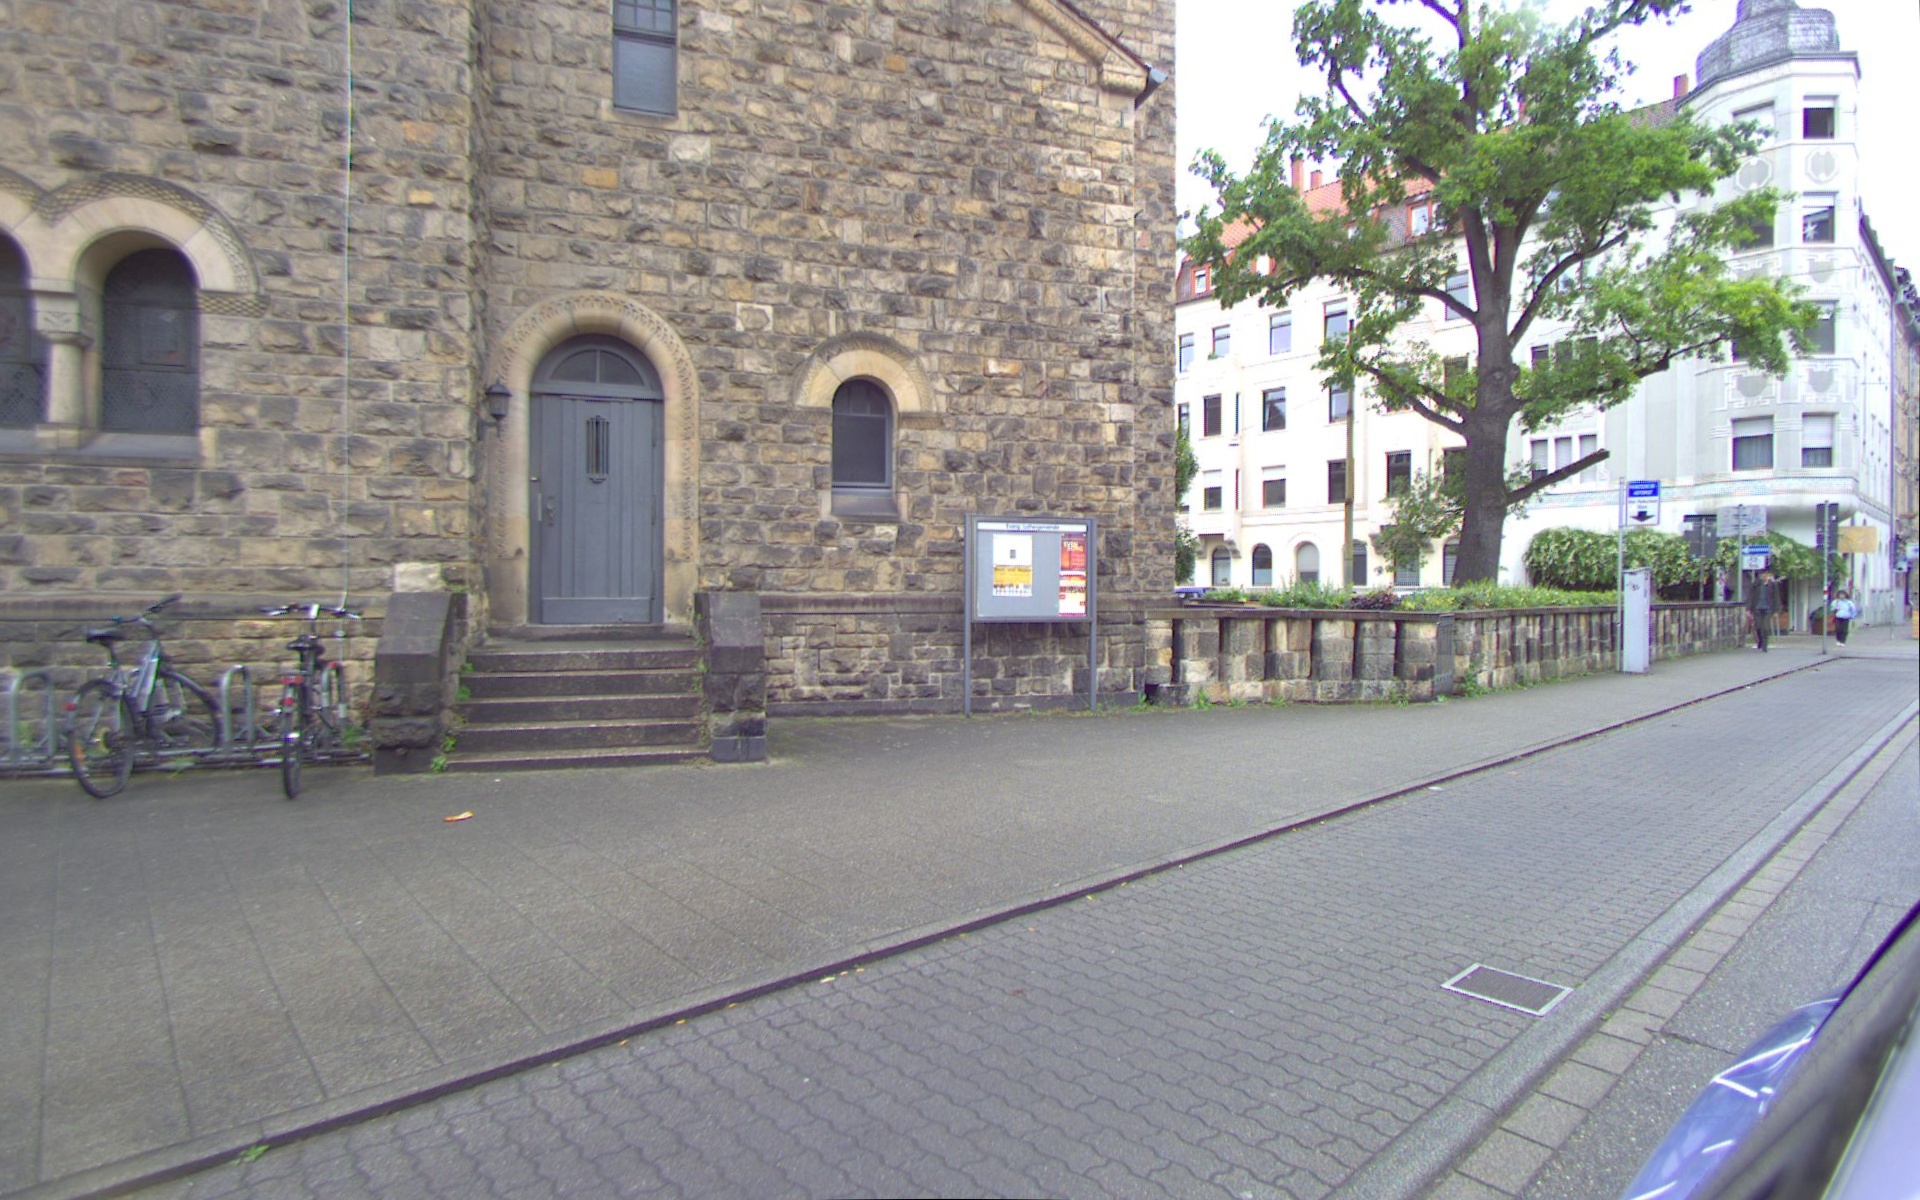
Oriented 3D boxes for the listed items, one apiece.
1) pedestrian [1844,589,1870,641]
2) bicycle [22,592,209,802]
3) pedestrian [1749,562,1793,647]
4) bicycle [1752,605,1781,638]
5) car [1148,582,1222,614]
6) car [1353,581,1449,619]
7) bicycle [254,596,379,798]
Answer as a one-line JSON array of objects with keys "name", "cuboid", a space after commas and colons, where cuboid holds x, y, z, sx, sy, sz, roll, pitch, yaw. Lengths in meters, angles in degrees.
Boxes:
[{"name": "pedestrian", "cuboid": [25.590, 0.418, 28.874, 0.385, 1.479, 0.481, 0, 1, -42]}, {"name": "bicycle", "cuboid": [-5.470, 0.550, 6.656, 0.550, 1.125, 1.717, 0, 3, -27]}, {"name": "pedestrian", "cuboid": [18.482, 0.088, 23.061, 0.681, 1.896, 0.645, 0, 1, -42]}, {"name": "bicycle", "cuboid": [25.236, 0.670, 31.641, 1.990, 0.904, 0.390, -3, 3, -42]}, {"name": "car", "cuboid": [10.642, -0.111, 48.057, 1.421, 1.427, 3.271, 0, 2, -38]}, {"name": "car", "cuboid": [17.702, -0.042, 40.720, 1.421, 1.427, 3.271, 0, 2, -38]}, {"name": "bicycle", "cuboid": [-4.255, 0.550, 6.788, 0.502, 1.067, 1.994, 0, 3, -27]}]
